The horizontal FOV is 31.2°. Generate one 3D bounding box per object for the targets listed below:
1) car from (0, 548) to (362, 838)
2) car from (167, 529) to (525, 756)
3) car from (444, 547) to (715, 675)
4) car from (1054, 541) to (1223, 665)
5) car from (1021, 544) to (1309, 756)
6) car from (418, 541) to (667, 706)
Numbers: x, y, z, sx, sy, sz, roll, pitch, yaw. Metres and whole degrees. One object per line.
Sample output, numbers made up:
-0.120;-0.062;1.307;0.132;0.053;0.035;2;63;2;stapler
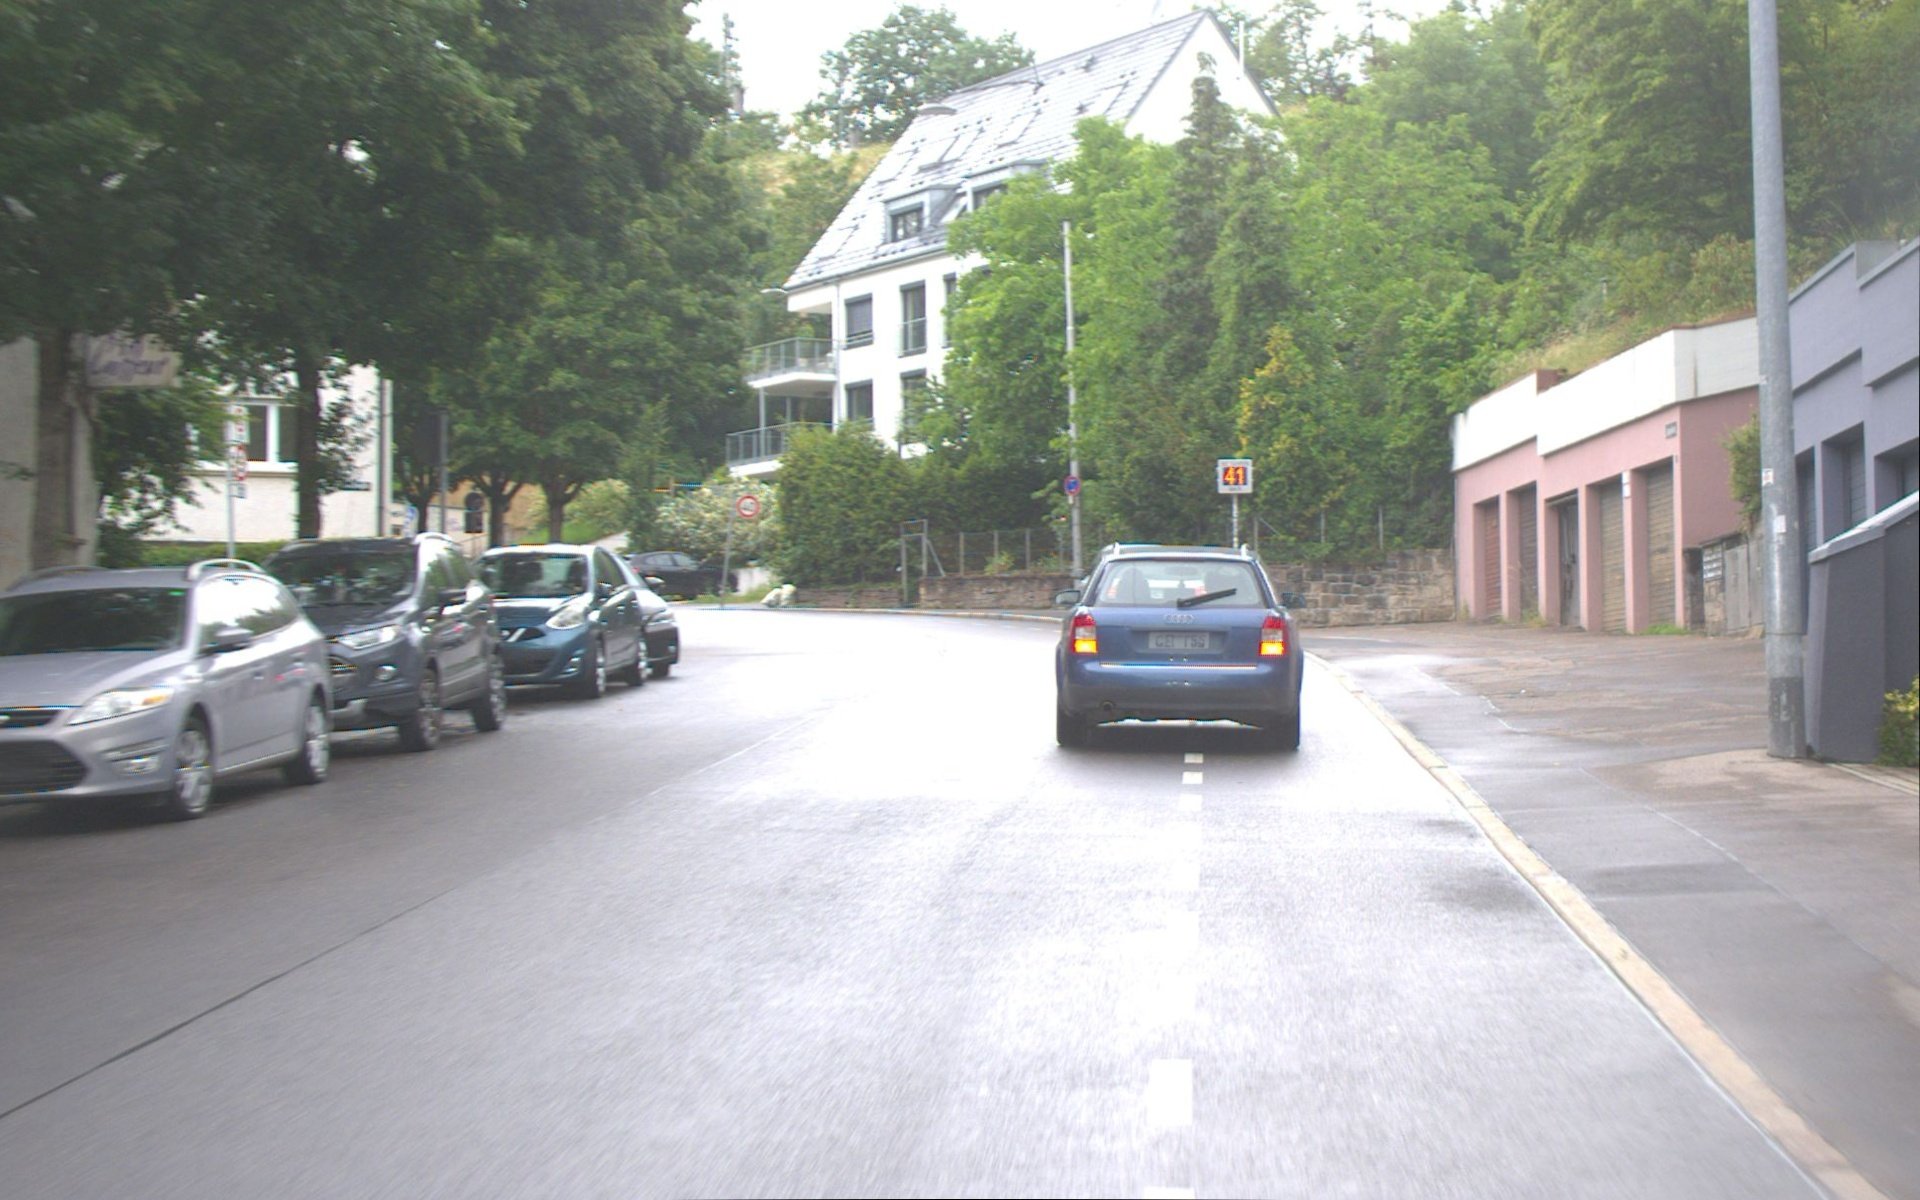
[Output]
-5.155;0.515;21.082;1.805;1.547;4.799;1;-1;4;car
-4.741;0.298;27.127;1.805;1.621;4.139;1;0;4;car
-4.430;0.106;39.475;1.993;1.386;4.198;0;0;-23;car
2.492;0.009;48.952;1.950;1.556;4.264;4;1;-2;car
1.605;0.298;25.476;1.854;1.409;4.360;1;1;7;car
-4.148;0.186;34.712;1.713;1.457;3.880;2;2;5;car
